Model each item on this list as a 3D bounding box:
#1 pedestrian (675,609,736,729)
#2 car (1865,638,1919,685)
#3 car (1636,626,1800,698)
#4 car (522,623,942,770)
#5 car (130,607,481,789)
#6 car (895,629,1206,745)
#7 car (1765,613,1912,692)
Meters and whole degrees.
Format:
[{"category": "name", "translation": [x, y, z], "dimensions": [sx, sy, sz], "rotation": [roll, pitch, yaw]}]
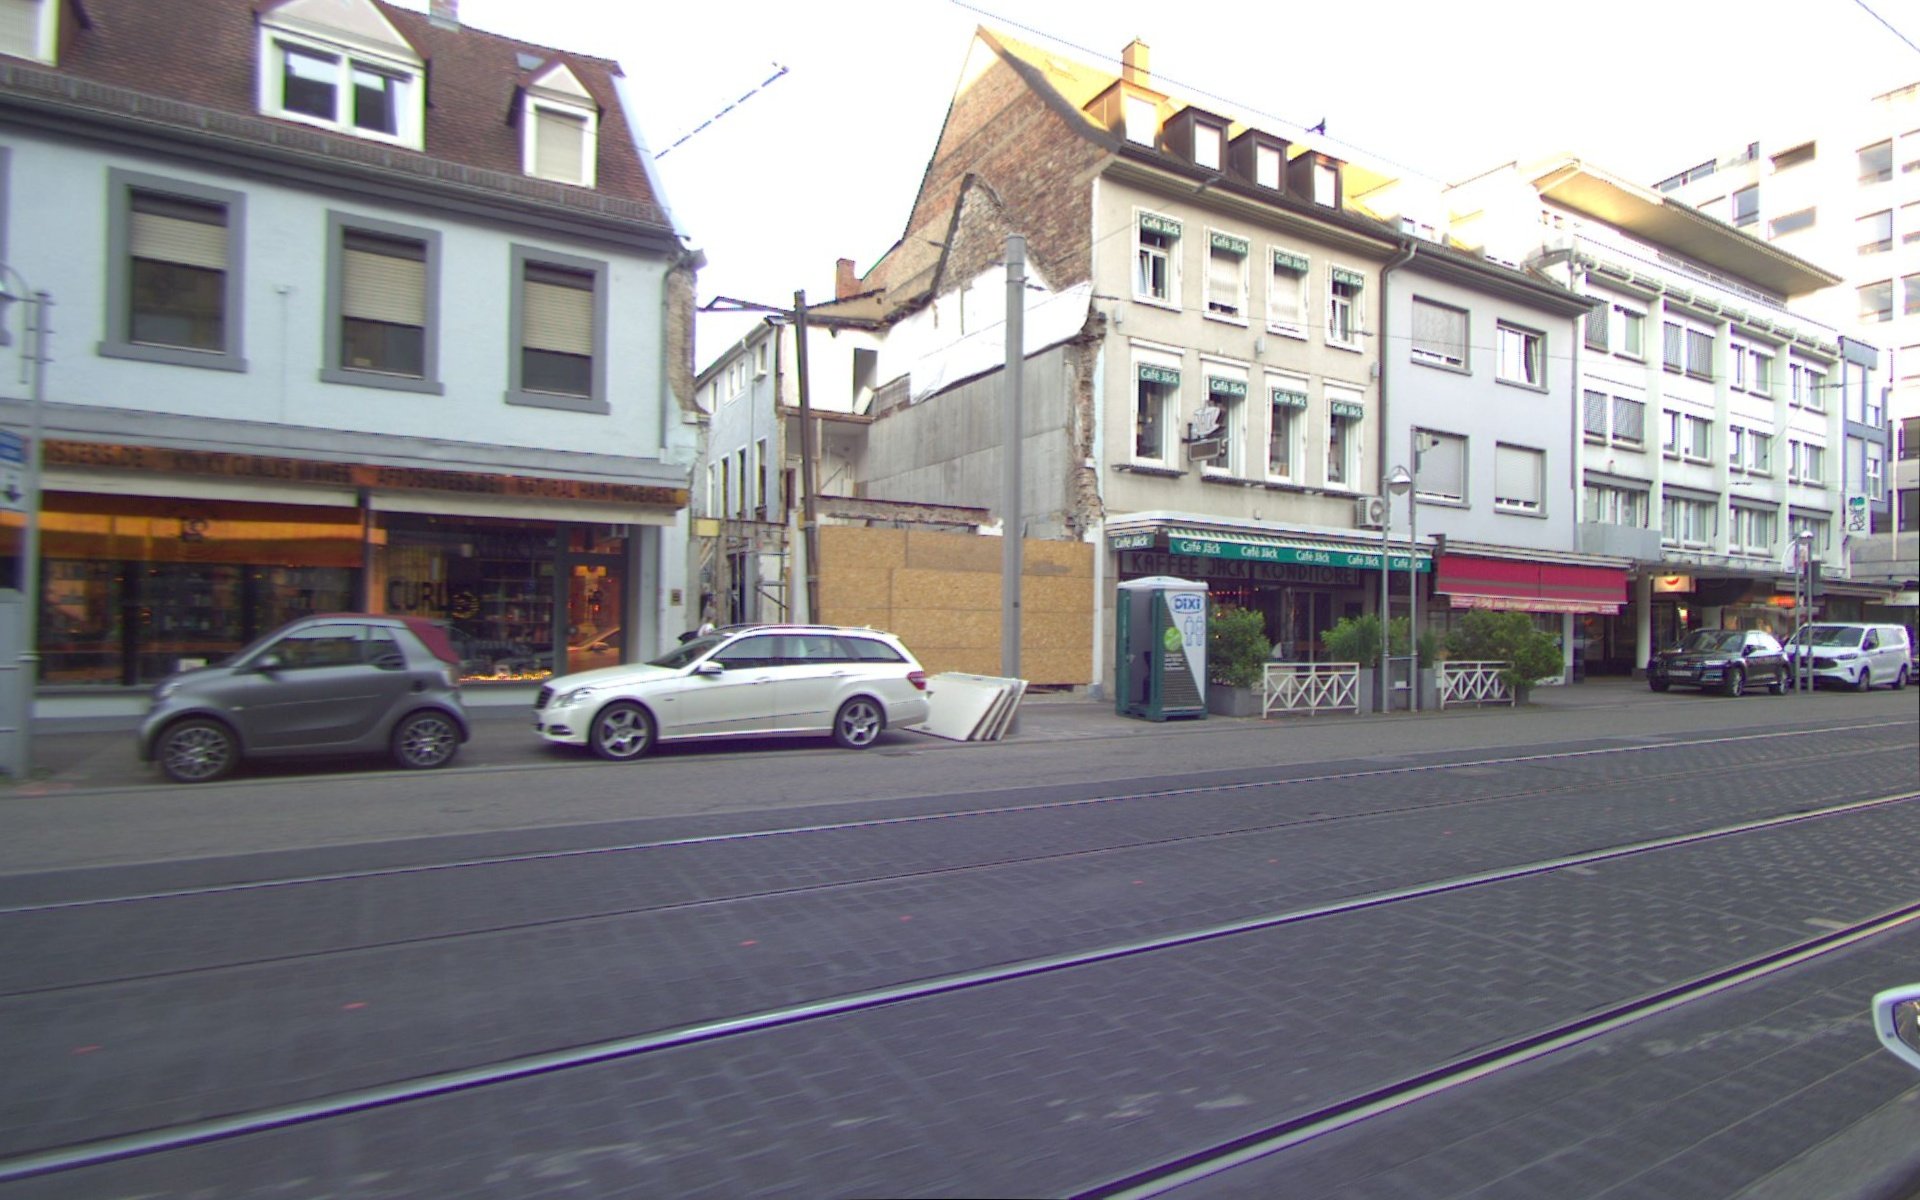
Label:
[{"category": "pedestrian", "translation": [-3.682, 0.977, 14.530], "dimensions": [0.686, 1.666, 0.659], "rotation": [1, -1, -30]}, {"category": "car", "translation": [32.664, 2.063, 33.935], "dimensions": [4.196, 1.454, 1.919], "rotation": [2, 0, -30]}, {"category": "car", "translation": [19.868, 1.576, 26.296], "dimensions": [4.412, 1.700, 1.851], "rotation": [2, 0, -30]}, {"category": "car", "translation": [-2.797, 1.088, 12.574], "dimensions": [4.763, 1.472, 1.985], "rotation": [2, 0, -29]}, {"category": "car", "translation": [-6.469, 0.907, 10.179], "dimensions": [2.764, 1.598, 1.469], "rotation": [2, -2, -32]}, {"category": "car", "translation": [1.380, 1.216, 15.045], "dimensions": [4.277, 1.472, 1.985], "rotation": [2, -1, -29]}, {"category": "car", "translation": [26.381, 1.543, 30.131], "dimensions": [4.855, 2.185, 1.983], "rotation": [2, -1, -31]}]
